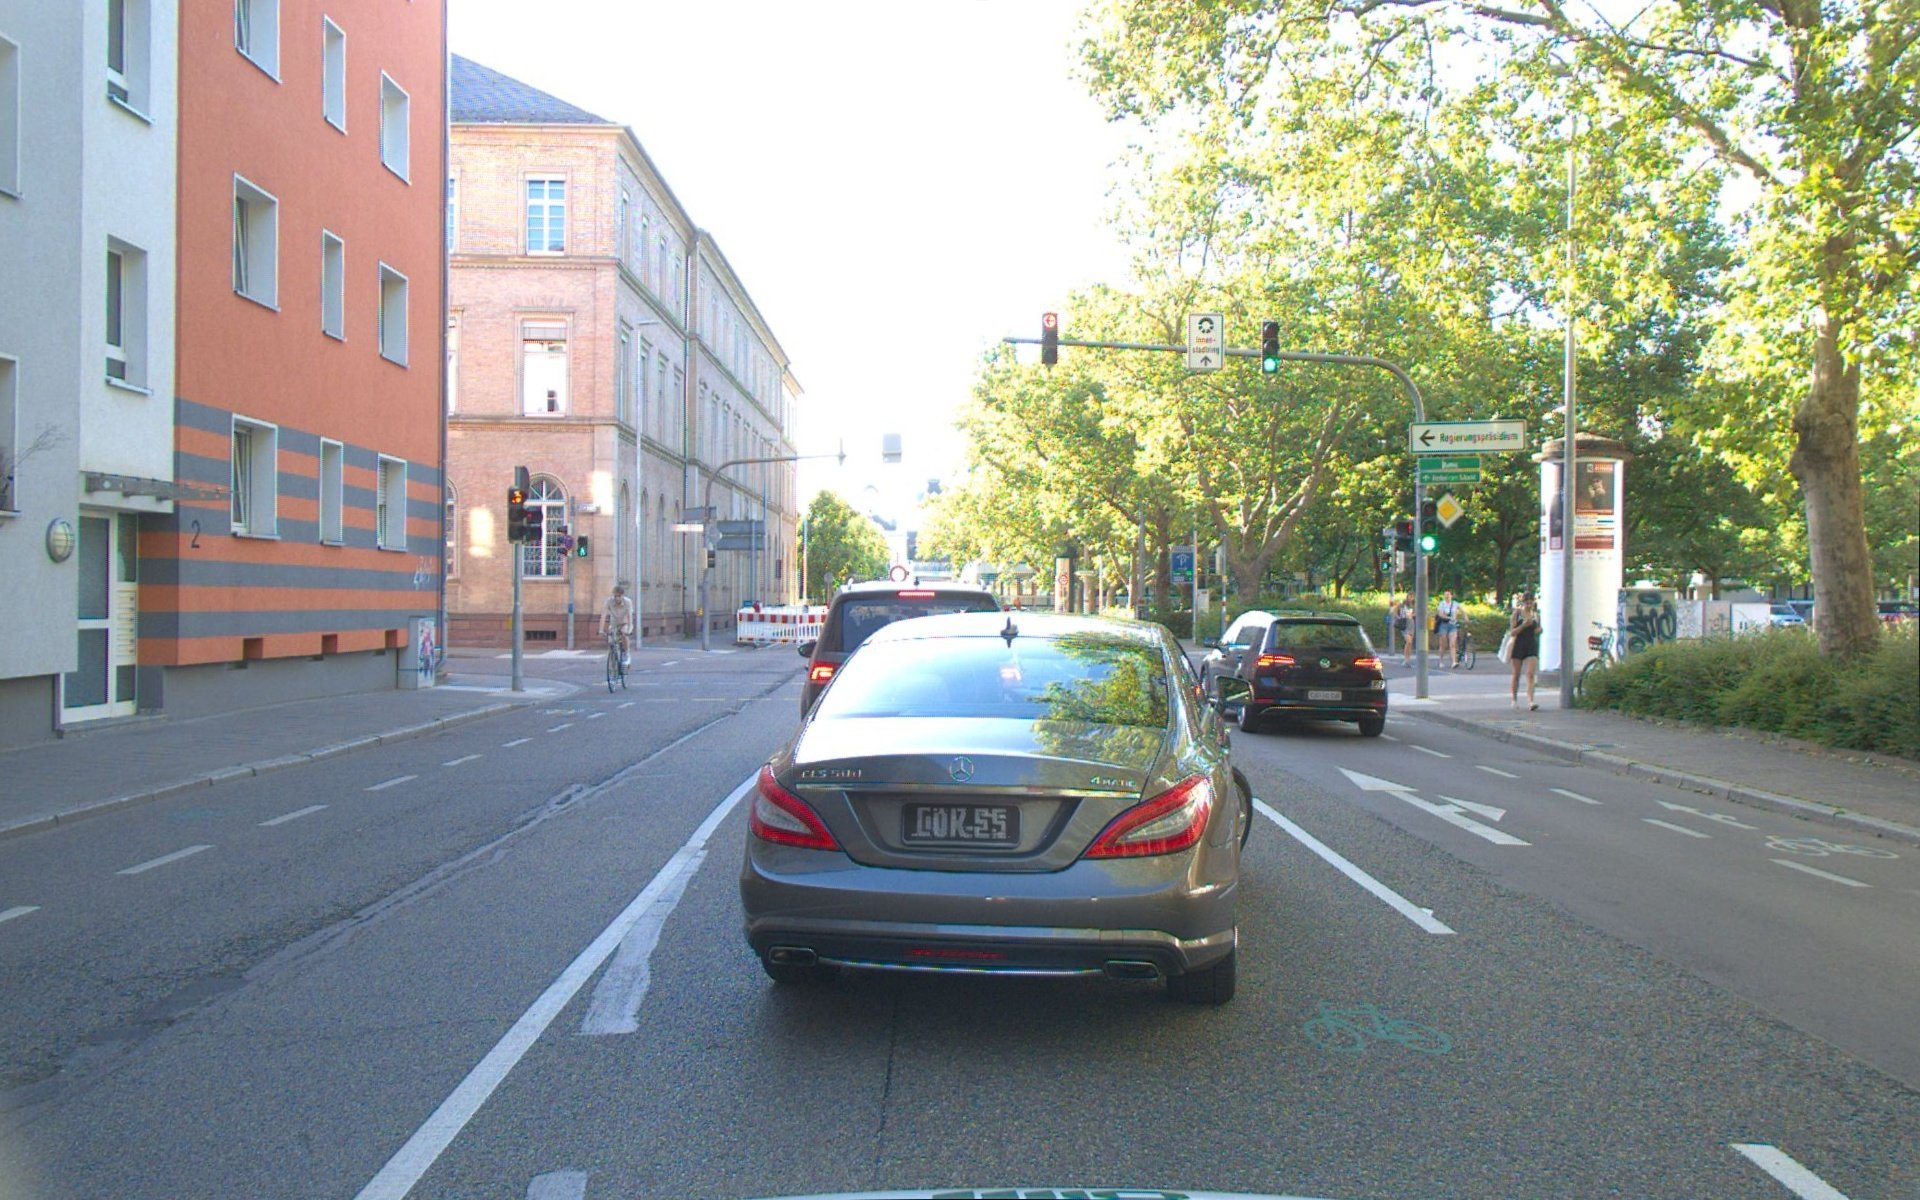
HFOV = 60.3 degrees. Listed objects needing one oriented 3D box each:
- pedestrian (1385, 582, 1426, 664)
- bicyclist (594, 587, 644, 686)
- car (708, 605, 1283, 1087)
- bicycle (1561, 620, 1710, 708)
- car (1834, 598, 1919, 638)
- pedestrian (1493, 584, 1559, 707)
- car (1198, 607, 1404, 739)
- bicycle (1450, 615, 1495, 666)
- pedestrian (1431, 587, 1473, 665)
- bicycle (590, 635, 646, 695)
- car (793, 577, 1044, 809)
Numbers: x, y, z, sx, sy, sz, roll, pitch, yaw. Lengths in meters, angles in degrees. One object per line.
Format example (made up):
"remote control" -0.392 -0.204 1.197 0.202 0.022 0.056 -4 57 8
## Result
"pedestrian" 10.117 0.531 37.583 0.716 1.840 0.909 -1 -1 4
"bicyclist" -5.589 0.589 27.163 0.635 1.586 0.806 1 -1 -2
"car" 0.399 0.773 7.459 1.804 1.454 4.521 1 0 8
"bicycle" 9.696 0.914 23.763 1.936 1.210 0.528 1 -1 -2
"car" 36.267 0.705 65.150 1.596 1.508 3.794 1 0 -2
"pedestrian" 7.824 0.630 22.887 0.781 1.659 0.908 -1 -1 16
"car" 4.197 0.849 20.938 1.655 1.465 3.900 2 0 -2
"bicycle" 11.644 0.913 37.629 0.513 1.119 1.741 1 0 1
"pedestrian" 11.219 0.584 37.708 0.669 1.727 0.971 1 0 1
"bicycle" -5.593 1.051 27.133 0.537 0.906 1.867 1 0 -1
"car" -0.267 0.667 13.723 1.772 1.641 4.000 0 0 1
